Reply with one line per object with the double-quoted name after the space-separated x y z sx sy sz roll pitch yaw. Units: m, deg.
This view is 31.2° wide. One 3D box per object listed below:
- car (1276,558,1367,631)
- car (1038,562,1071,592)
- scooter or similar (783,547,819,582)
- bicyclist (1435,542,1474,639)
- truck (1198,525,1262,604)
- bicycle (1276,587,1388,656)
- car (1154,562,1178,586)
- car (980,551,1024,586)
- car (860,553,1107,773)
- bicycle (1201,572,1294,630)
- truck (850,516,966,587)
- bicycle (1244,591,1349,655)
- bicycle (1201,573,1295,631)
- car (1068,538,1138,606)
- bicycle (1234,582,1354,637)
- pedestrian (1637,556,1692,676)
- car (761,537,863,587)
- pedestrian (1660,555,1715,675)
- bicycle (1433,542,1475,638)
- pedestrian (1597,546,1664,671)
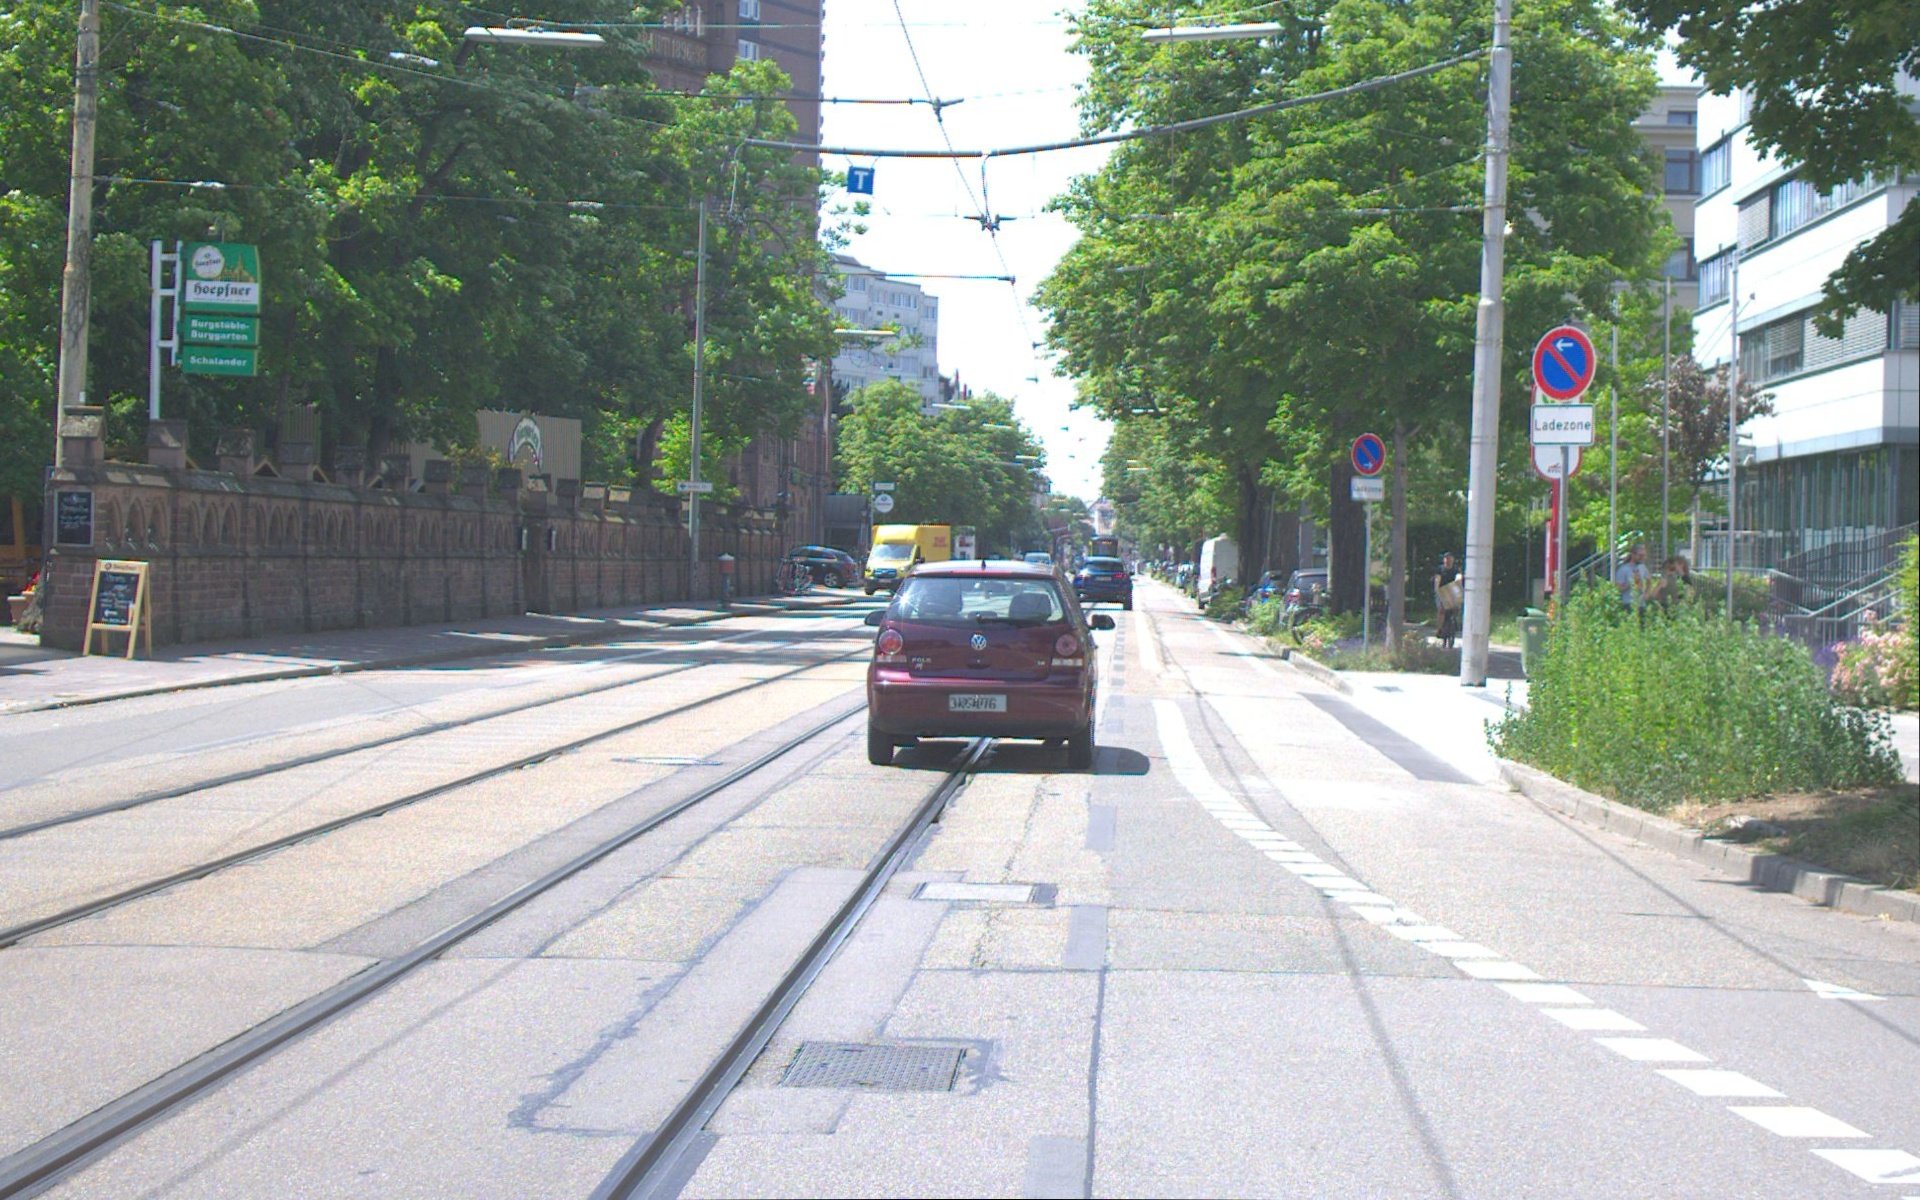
7.565 -0.137 72.201 1.688 1.498 3.627 0 1 3 "car"
6.077 -1.501 221.508 1.994 1.848 4.682 1 1 3 "car"
-5.505 -1.229 119.250 1.088 1.151 0.527 3 1 -18 "scooter or similar"
9.240 -0.179 64.273 0.696 1.793 0.887 0 0 6 "bicyclist"
9.544 -1.274 121.776 1.994 2.652 4.875 3 1 3 "truck"
6.503 0.371 60.131 1.883 1.178 0.694 1 0 3 "bicycle"
15.472 -1.962 258.427 1.674 1.651 4.000 3 1 3 "car"
1.891 -1.433 153.965 1.771 1.510 4.000 1 1 3 "car"
0.246 0.408 25.789 1.619 1.481 4.000 1 1 3 "car"
5.594 0.023 66.891 1.751 1.081 0.548 1 1 3 "bicycle"
-2.055 -1.935 139.569 2.372 2.777 7.313 2 1 18 "truck"
5.994 0.406 61.138 1.826 1.081 0.718 1 -1 6 "bicycle"
5.545 0.033 66.293 1.751 1.081 0.548 1 1 3 "bicycle"
4.496 -0.905 108.750 1.993 2.007 4.000 3 1 1 "car"
8.863 0.252 91.283 3.070 1.308 0.782 3 1 1 "bicycle"
10.059 0.223 49.083 0.537 1.709 0.566 0 0 -26 "pedestrian"
-6.288 -1.621 146.155 3.988 2.007 1.999 2 1 7 "car"
10.475 0.213 49.501 0.537 1.709 0.566 0 0 -26 "pedestrian"
9.233 -0.186 64.279 0.690 1.779 1.810 0 0 6 "bicycle"
9.729 0.116 49.907 0.677 1.790 0.675 0 0 -28 "pedestrian"
